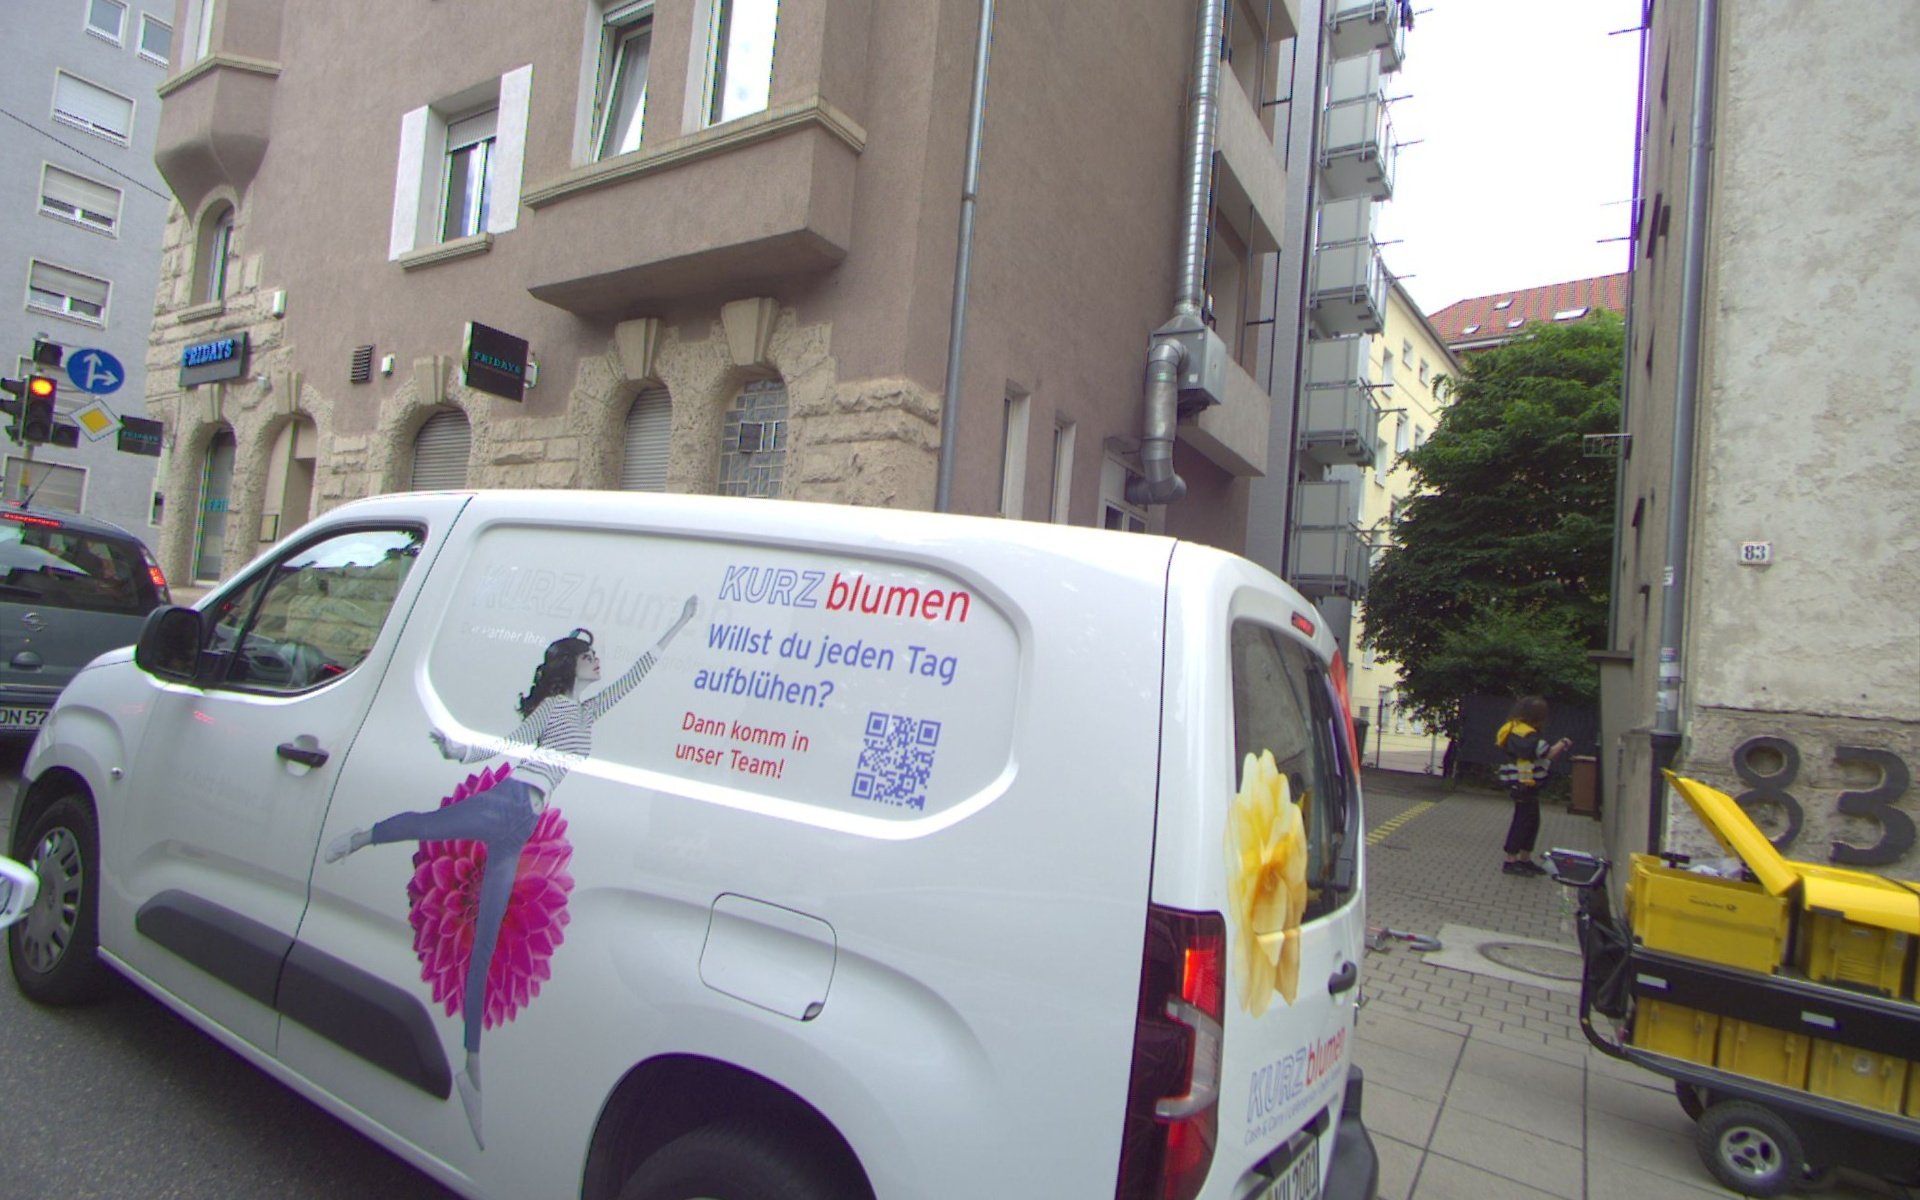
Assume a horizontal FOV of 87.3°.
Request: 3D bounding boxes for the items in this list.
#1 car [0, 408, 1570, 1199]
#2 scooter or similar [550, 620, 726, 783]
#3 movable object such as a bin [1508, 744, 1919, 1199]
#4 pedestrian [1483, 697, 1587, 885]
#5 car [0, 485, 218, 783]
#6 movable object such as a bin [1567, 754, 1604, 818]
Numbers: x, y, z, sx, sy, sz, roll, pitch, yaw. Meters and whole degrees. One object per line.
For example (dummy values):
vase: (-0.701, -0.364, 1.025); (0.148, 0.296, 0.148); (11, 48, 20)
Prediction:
car: (-0.920, 0.599, 3.141); (4.597, 1.793, 1.983); (6, -5, 30)
scooter or similar: (-2.686, 0.811, 8.339); (1.400, 1.117, 0.527); (6, -1, 34)
movable object such as a bin: (3.371, 1.454, 3.980); (1.979, 1.391, 1.223); (6, 0, 30)
pedestrian: (5.547, 1.799, 9.746); (0.770, 1.665, 0.811); (1, -3, 24)
car: (-6.709, 0.045, 6.527); (3.608, 1.614, 1.634); (6, -5, 32)
movable object such as a bin: (9.932, 2.941, 15.979); (0.405, 0.922, 0.340); (6, -1, 32)
